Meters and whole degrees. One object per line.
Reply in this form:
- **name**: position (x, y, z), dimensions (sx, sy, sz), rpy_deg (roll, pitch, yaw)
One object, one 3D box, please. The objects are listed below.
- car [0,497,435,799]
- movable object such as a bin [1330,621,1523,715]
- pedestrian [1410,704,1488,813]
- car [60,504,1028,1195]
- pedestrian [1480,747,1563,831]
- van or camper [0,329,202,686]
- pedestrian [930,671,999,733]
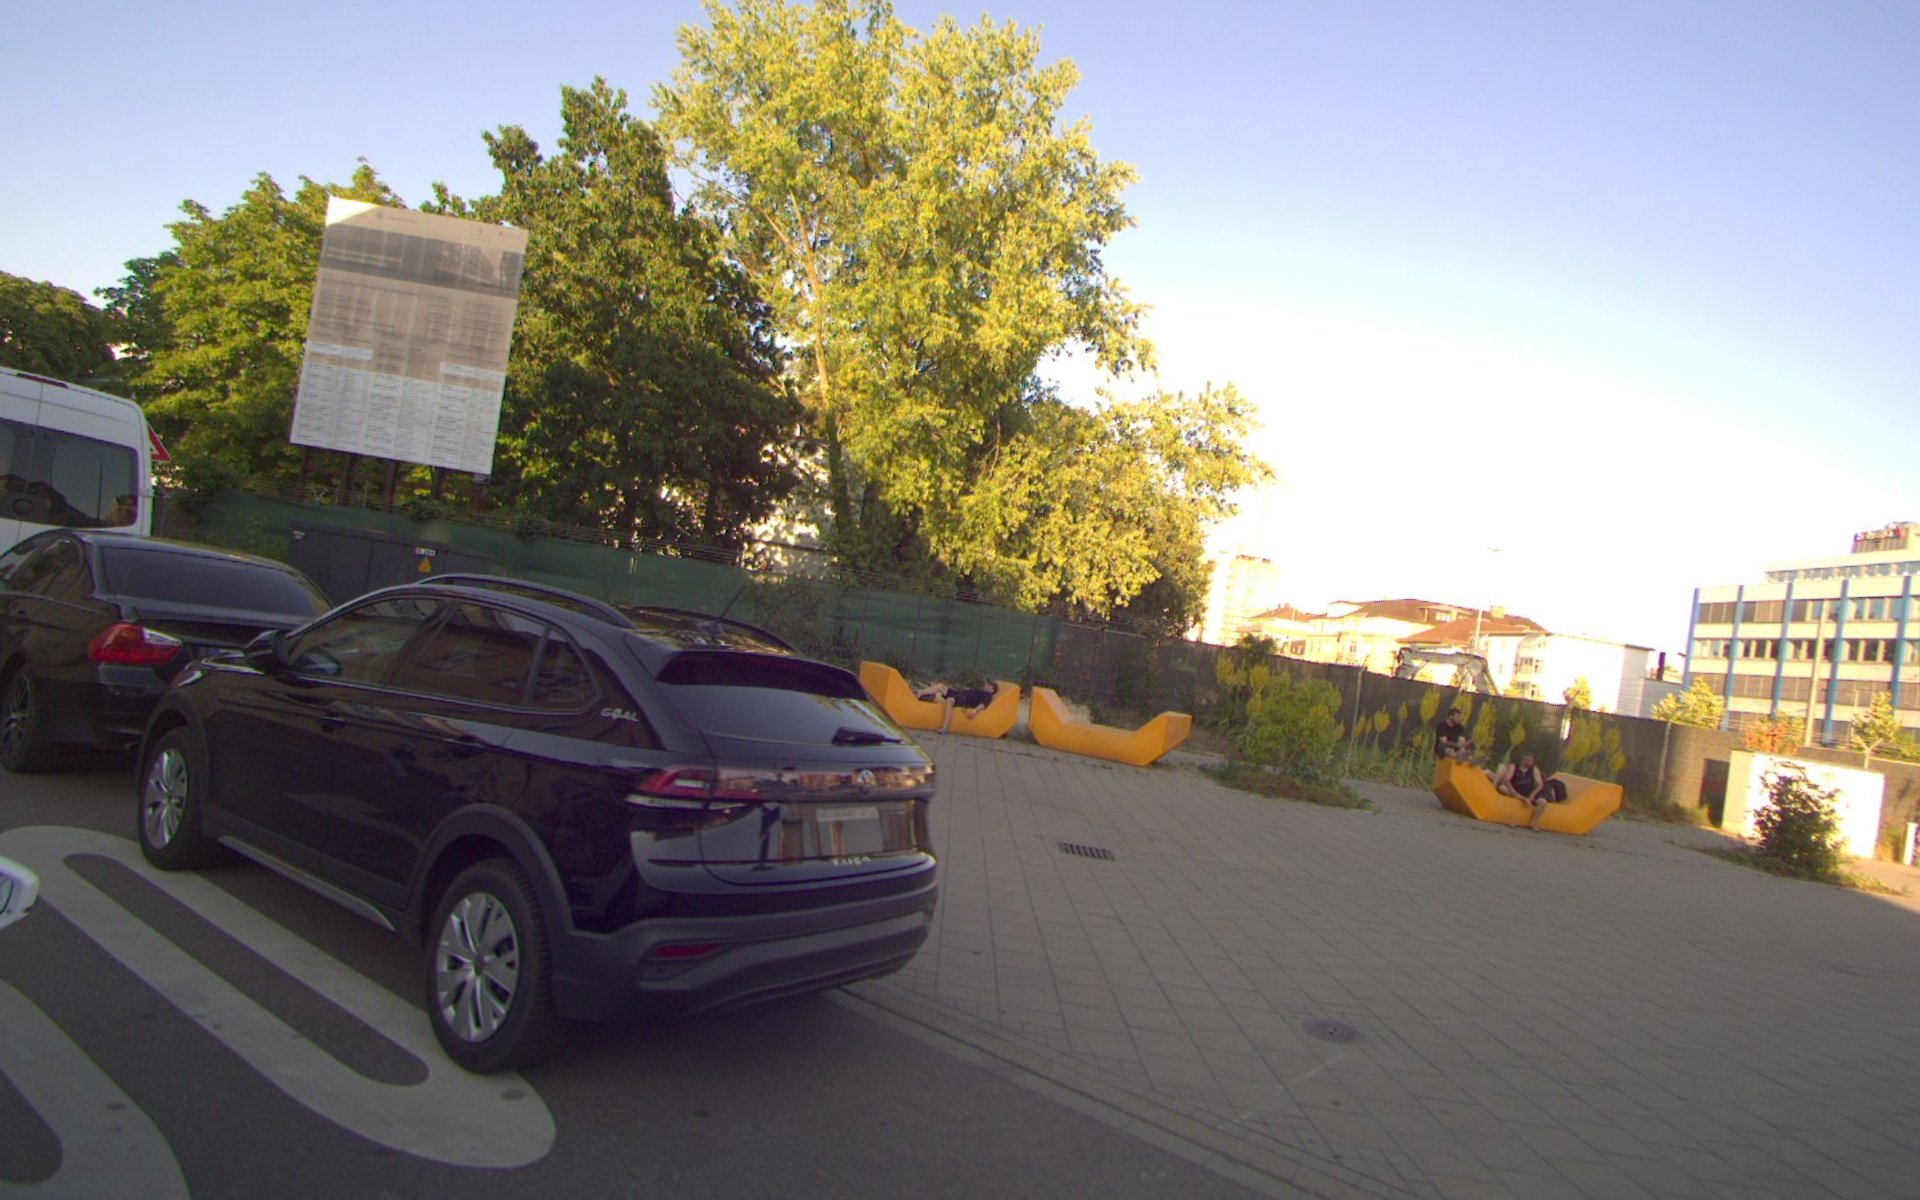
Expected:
- **car**: position (-5.743, 0.164, 7.018), dimensions (4.403, 1.445, 1.732), rpy_deg (7, -3, 35)
- **movable object such as a bin**: position (14.046, 2.051, 30.441), dimensions (4.936, 2.037, 1.999), rpy_deg (8, -2, 28)
- **pedestrian**: position (8.418, 2.704, 17.356), dimensions (0.750, 1.684, 0.823), rpy_deg (8, -1, 3)
- **car**: position (-2.051, 0.627, 4.484), dimensions (4.221, 1.560, 1.782), rpy_deg (7, -2, 34)
- **pedestrian**: position (9.388, 3.142, 16.859), dimensions (0.721, 1.171, 0.991), rpy_deg (8, -2, 3)
- **van or camper**: position (-10.220, -1.029, 10.207), dimensions (6.351, 2.806, 2.079), rpy_deg (7, -2, 37)
- **pedestrian**: position (0.074, 1.757, 17.314), dimensions (0.968, 0.903, 0.560), rpy_deg (9, -2, -19)
